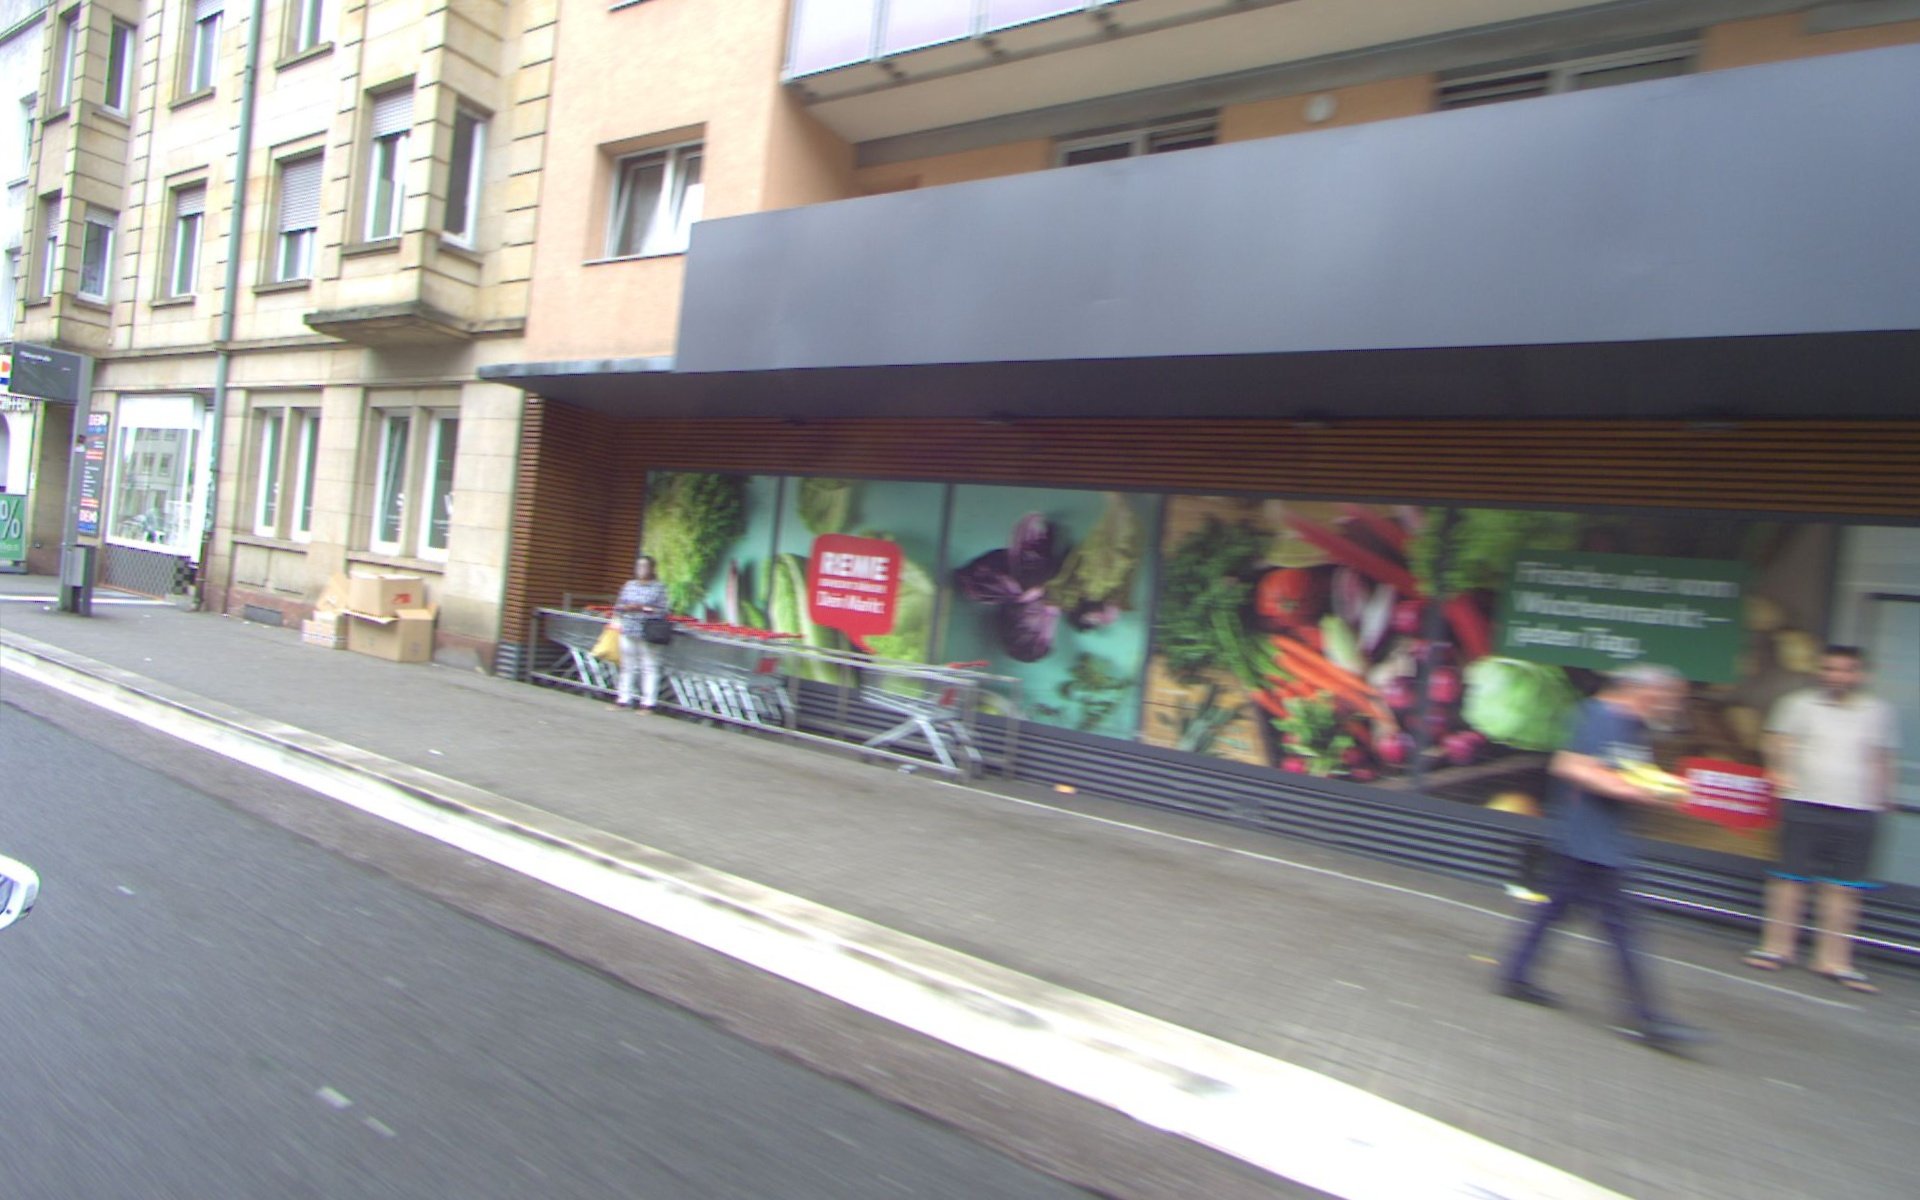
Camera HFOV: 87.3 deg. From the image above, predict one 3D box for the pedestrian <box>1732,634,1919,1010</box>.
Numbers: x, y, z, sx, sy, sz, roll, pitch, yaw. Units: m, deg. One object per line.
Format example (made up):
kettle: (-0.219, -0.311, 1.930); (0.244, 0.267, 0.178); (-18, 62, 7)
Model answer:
pedestrian: (4.895, 1.176, 5.635); (0.716, 1.881, 0.596); (6, 0, 35)

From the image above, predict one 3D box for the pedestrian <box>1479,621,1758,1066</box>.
pedestrian: (2.860, 0.992, 4.423); (0.736, 1.672, 0.626); (10, 2, 34)

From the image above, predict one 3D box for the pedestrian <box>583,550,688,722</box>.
pedestrian: (-3.202, 0.351, 9.946); (0.615, 1.592, 0.563); (7, 0, 15)
